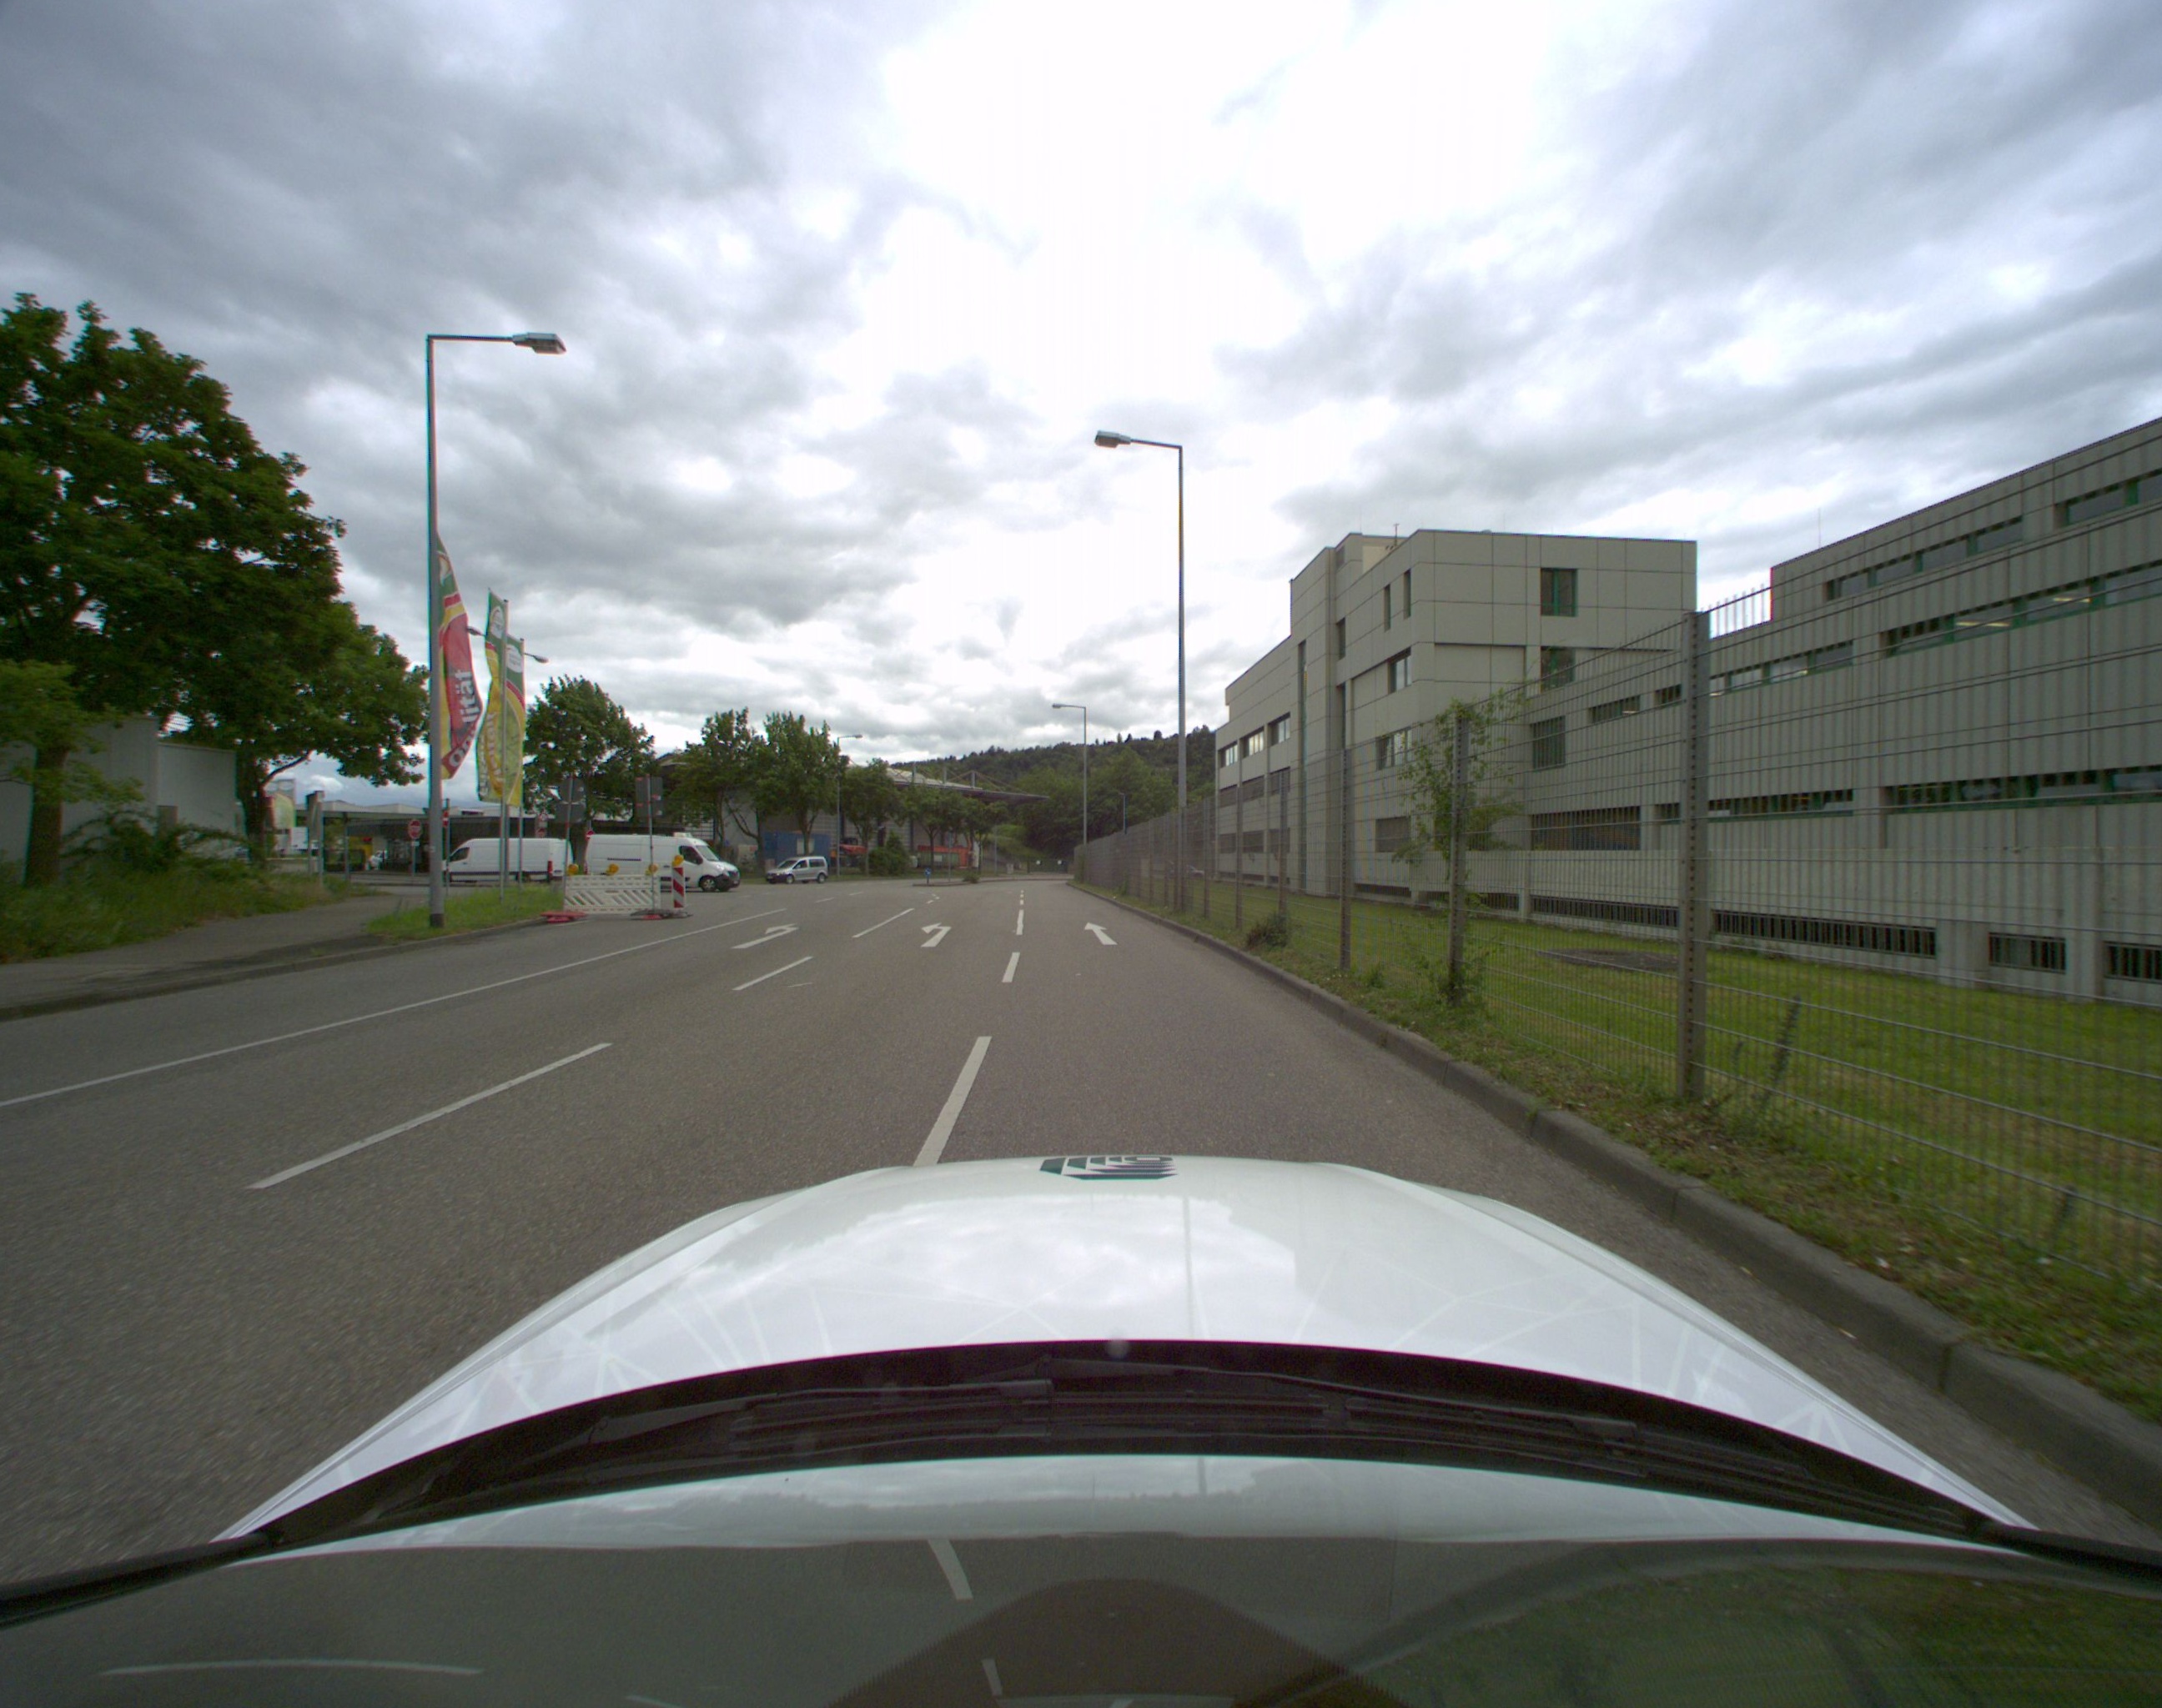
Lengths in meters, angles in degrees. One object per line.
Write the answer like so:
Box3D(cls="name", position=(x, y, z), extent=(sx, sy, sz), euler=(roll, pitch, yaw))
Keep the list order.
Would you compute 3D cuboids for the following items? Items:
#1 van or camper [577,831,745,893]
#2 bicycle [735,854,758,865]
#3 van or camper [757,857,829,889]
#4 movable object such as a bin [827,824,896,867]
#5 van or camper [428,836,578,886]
Box3D(cls="van or camper", position=(-18.310, 0.349, 35.814), extent=(6.077, 2.557, 2.269), euler=(1, 0, -5))
Box3D(cls="bicycle", position=(-27.902, 0.452, 67.905), extent=(0.655, 0.974, 1.772), euler=(-1, 0, 29))
Box3D(cls="van or camper", position=(-19.074, 1.213, 54.145), extent=(1.934, 1.963, 4.302), euler=(1, 0, 28))
Box3D(cls="movable object such as a bin", position=(-21.788, -0.796, 81.190), extent=(2.699, 4.091, 6.593), euler=(-1, 0, 30))
Box3D(cls="van or camper", position=(-31.801, 0.371, 44.973), extent=(6.535, 2.557, 2.331), euler=(1, 0, -1))
